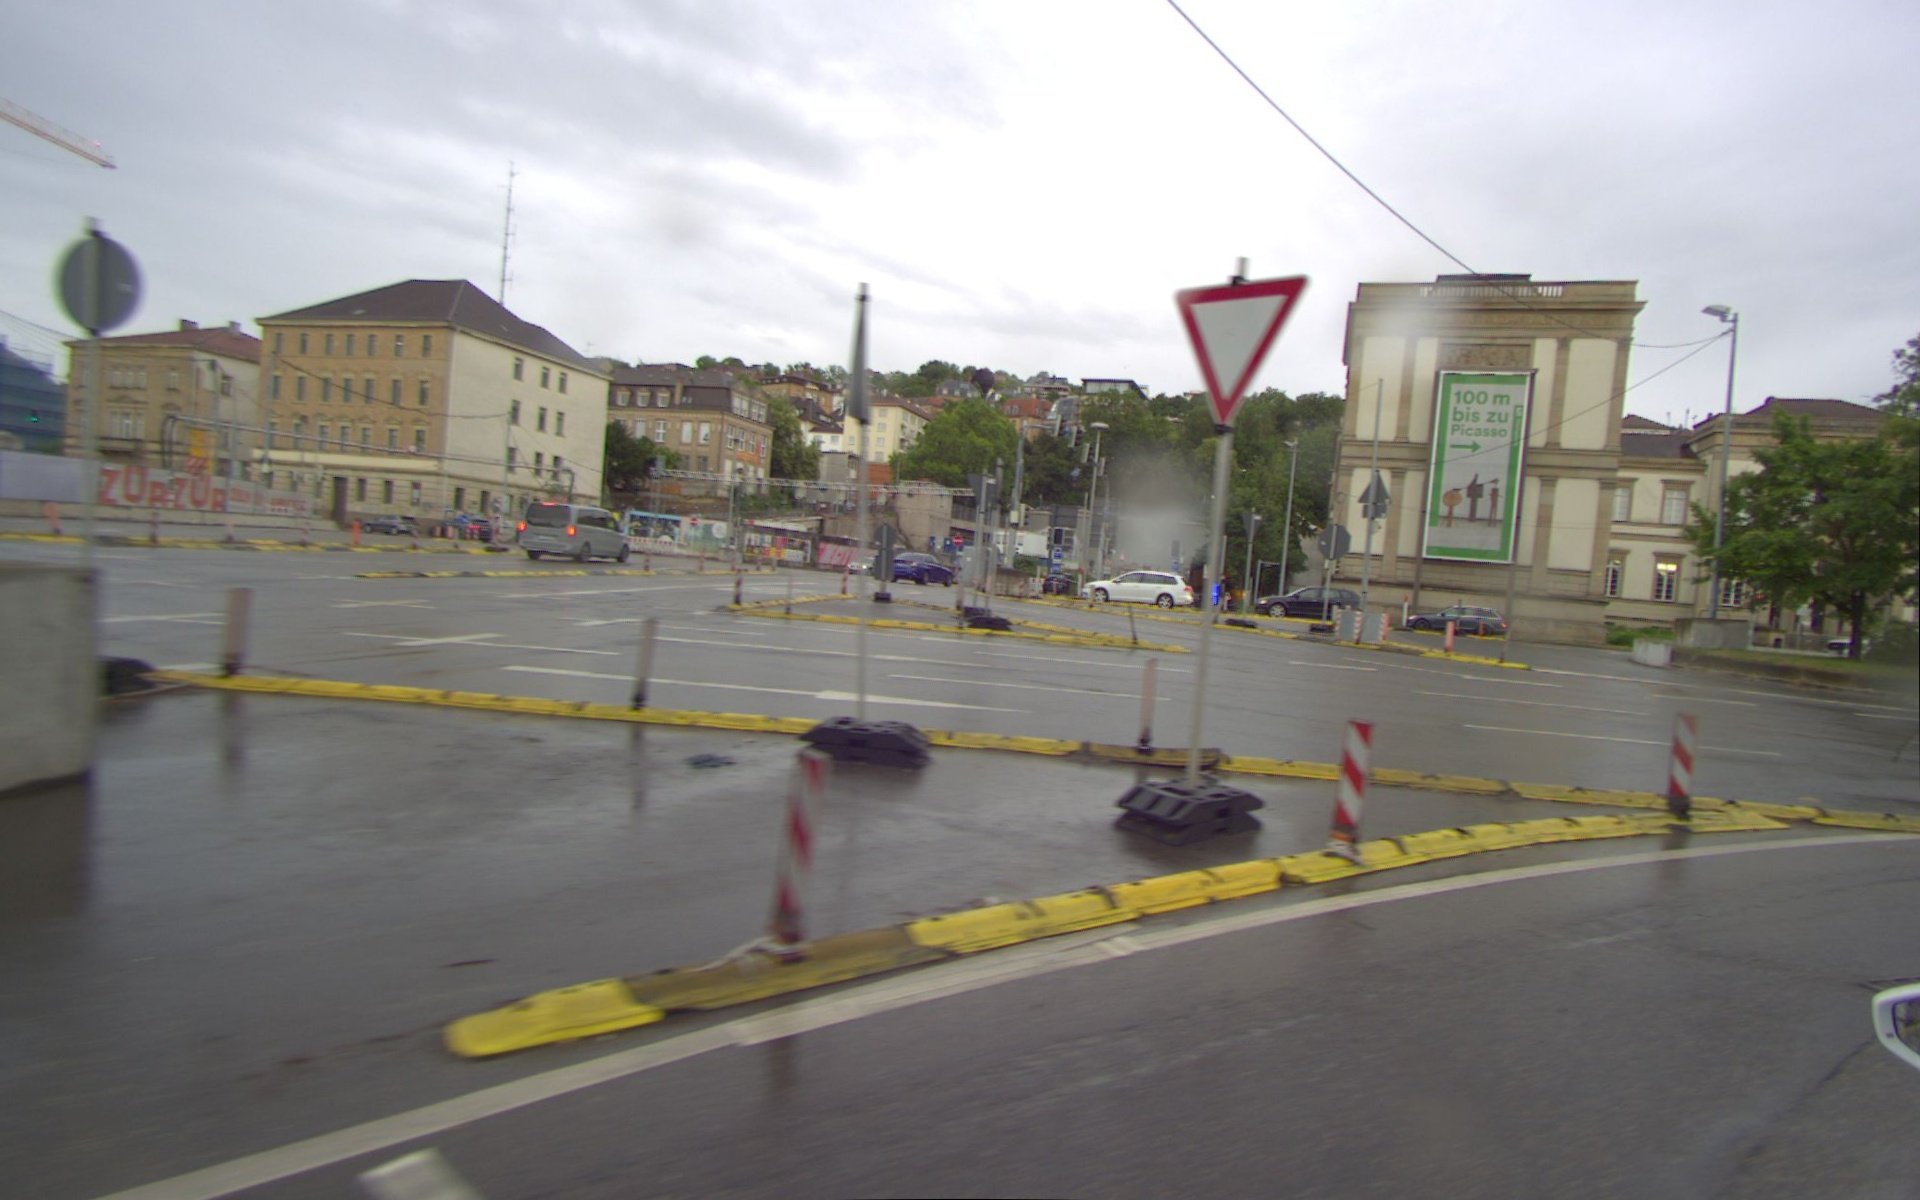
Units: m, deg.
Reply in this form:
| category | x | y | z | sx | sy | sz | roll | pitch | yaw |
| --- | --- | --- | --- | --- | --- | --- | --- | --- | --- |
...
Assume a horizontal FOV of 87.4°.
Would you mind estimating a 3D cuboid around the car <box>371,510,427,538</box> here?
| category | x | y | z | sx | sy | sz | roll | pitch | yaw |
| --- | --- | --- | --- | --- | --- | --- | --- | --- | --- |
| car | -39.127 | -5.285 | 70.040 | 3.351 | 1.483 | 1.650 | 8 | 4 | 22 |

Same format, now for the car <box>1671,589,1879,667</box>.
| category | x | y | z | sx | sy | sz | roll | pitch | yaw |
| --- | --- | --- | --- | --- | --- | --- | --- | --- | --- |
| car | 30.703 | 1.011 | 38.026 | 5.570 | 2.202 | 2.371 | 6 | 4 | 4 |

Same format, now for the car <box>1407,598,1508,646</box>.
| category | x | y | z | sx | sy | sz | roll | pitch | yaw |
| --- | --- | --- | --- | --- | --- | --- | --- | --- | --- |
| car | 24.224 | 1.035 | 49.091 | 4.114 | 1.723 | 1.822 | 7 | 4 | 21 |

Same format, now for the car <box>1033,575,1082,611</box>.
| category | x | y | z | sx | sy | sz | roll | pitch | yaw |
| --- | --- | --- | --- | --- | --- | --- | --- | --- | --- |
| car | 6.217 | -0.486 | 63.667 | 1.961 | 2.040 | 3.999 | 7 | 4 | 20 |

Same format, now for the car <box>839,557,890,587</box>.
| category | x | y | z | sx | sy | sz | roll | pitch | yaw |
| --- | --- | --- | --- | --- | --- | --- | --- | --- | --- |
| car | -7.219 | -2.131 | 76.383 | 1.962 | 2.040 | 3.996 | 7 | 4 | 24 |

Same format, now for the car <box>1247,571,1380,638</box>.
| category | x | y | z | sx | sy | sz | roll | pitch | yaw |
| --- | --- | --- | --- | --- | --- | --- | --- | --- | --- |
| car | 13.740 | 0.124 | 39.284 | 4.597 | 2.040 | 2.000 | 7 | 4 | 16 |

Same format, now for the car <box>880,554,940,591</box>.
| category | x | y | z | sx | sy | sz | roll | pitch | yaw |
| --- | --- | --- | --- | --- | --- | --- | --- | --- | --- |
| car | -2.275 | -1.320 | 46.846 | 1.960 | 1.457 | 4.001 | 6 | 3 | 8 |

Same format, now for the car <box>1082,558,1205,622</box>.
| category | x | y | z | sx | sy | sz | roll | pitch | yaw |
| --- | --- | --- | --- | --- | --- | --- | --- | --- | --- |
| car | 7.511 | -0.447 | 41.063 | 4.550 | 2.040 | 2.000 | 7 | 4 | 16 |

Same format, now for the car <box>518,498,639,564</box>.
| category | x | y | z | sx | sy | sz | roll | pitch | yaw |
| --- | --- | --- | --- | --- | --- | --- | --- | --- | --- |
| car | -12.737 | -2.269 | 33.924 | 1.961 | 1.863 | 4.683 | 6 | 3 | 3 |
